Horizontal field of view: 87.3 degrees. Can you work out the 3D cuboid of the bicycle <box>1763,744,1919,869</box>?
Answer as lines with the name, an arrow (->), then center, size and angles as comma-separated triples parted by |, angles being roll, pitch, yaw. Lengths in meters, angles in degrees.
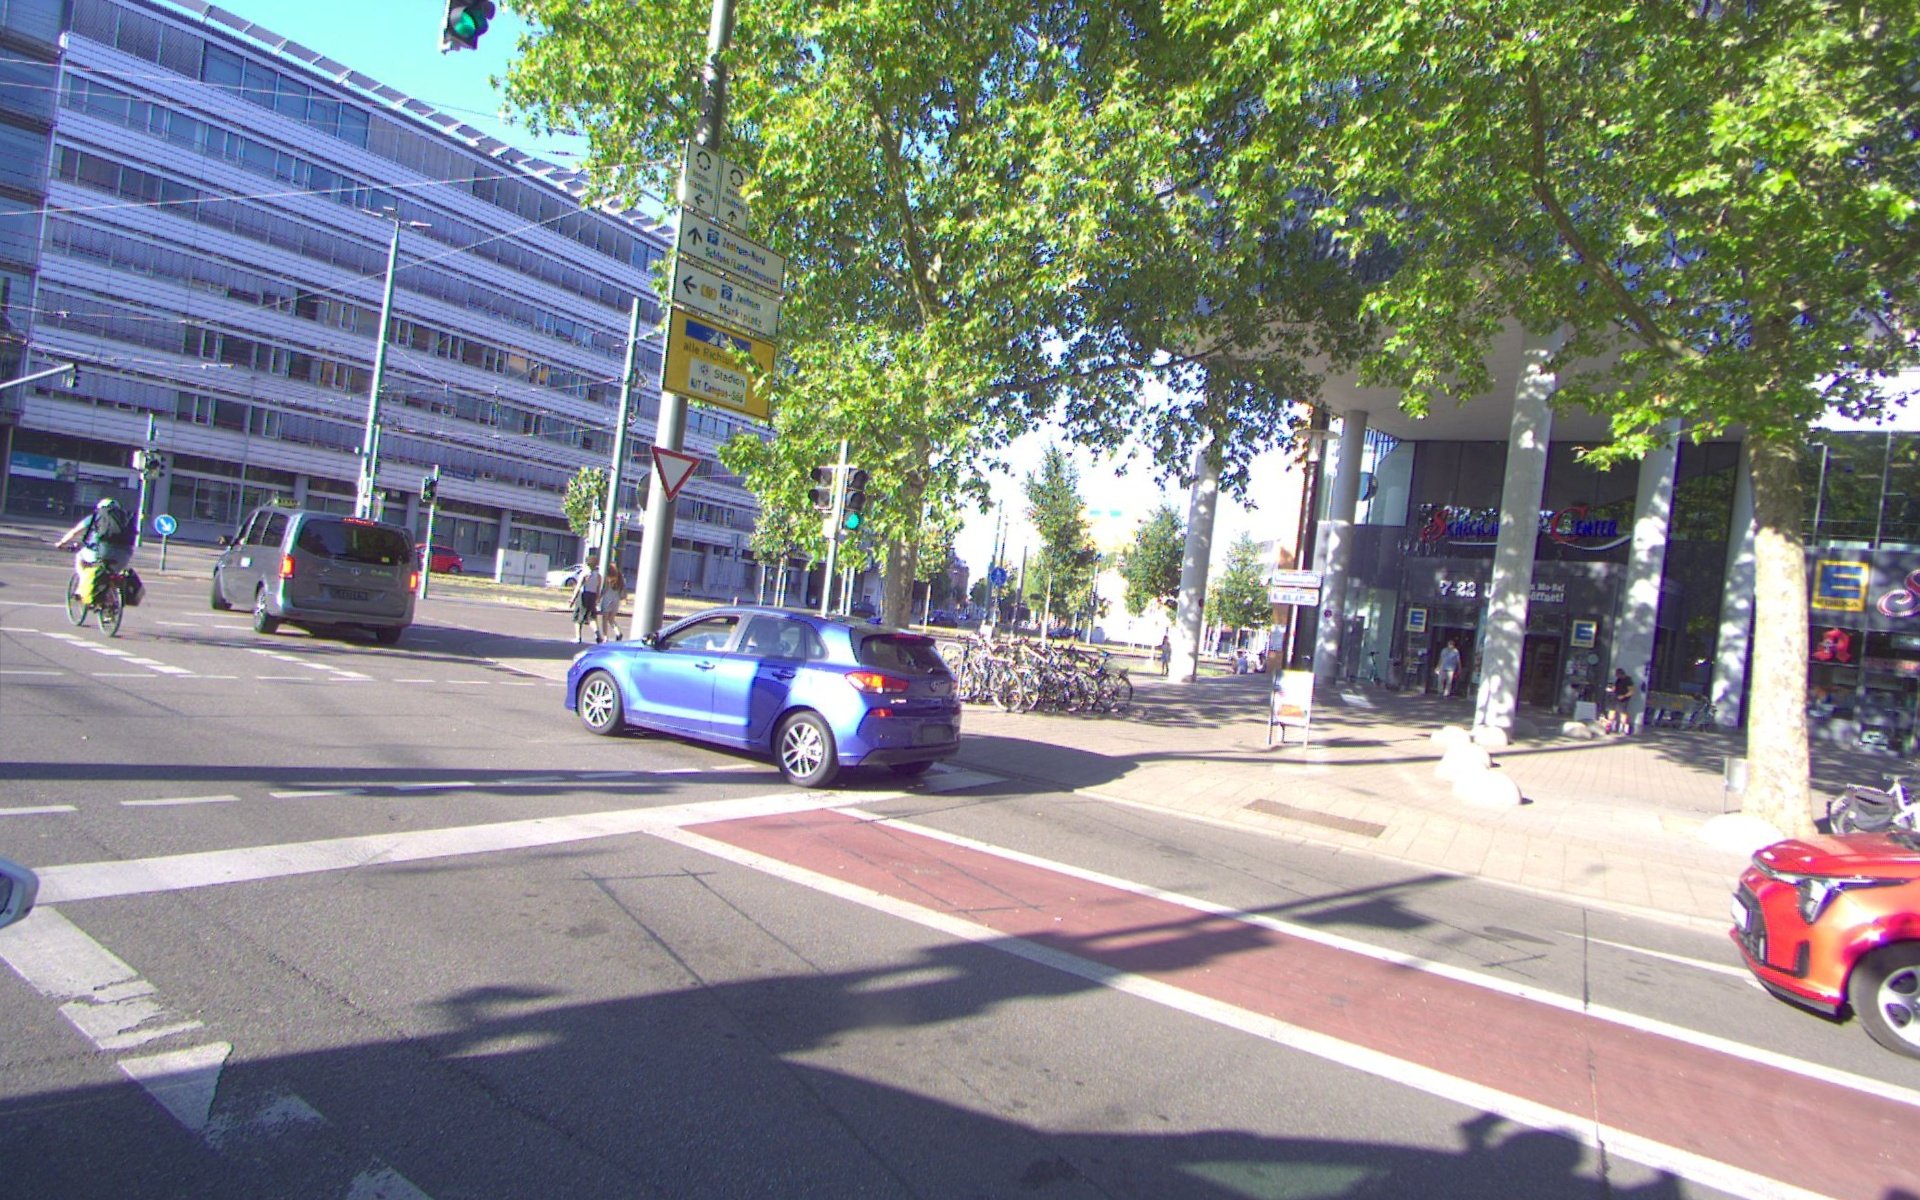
bicycle -> 11.772, 2.570, 11.633 | 3.758, 1.234, 0.792 | 5, -2, 36

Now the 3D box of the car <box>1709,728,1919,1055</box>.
car -> 6.078, 1.672, 4.978 | 3.538, 1.476, 1.493 | 7, -1, 32

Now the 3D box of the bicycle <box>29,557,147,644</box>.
bicycle -> -10.554, -0.010, 12.157 | 1.830, 0.798, 0.491 | 8, 0, 32

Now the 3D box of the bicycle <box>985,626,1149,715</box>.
bicycle -> 1.970, 1.301, 18.823 | 2.896, 1.250, 0.698 | 6, -4, 31

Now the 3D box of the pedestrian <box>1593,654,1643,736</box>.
pedestrian -> 17.514, 2.531, 26.770 | 0.847, 2.037, 1.021 | 6, -1, 38

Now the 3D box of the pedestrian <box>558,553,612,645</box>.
pedestrian -> -7.676, -0.025, 20.564 | 0.674, 1.781, 0.734 | 6, 1, -38

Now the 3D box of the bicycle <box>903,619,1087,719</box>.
bicycle -> 0.532, 1.097, 16.343 | 2.896, 1.243, 0.686 | 6, -1, 31

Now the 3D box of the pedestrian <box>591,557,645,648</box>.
pedestrian -> -7.139, 0.045, 20.997 | 0.680, 1.781, 0.734 | 6, 1, -38

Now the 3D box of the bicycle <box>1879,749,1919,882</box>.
bicycle -> 10.343, 2.204, 9.342 | 2.514, 1.234, 0.756 | 5, -2, 37

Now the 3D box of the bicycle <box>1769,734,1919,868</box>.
bicycle -> 10.882, 2.281, 10.436 | 3.759, 1.234, 0.756 | 5, -2, 38

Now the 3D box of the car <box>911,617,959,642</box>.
car -> -2.094, 2.488, 84.907 | 1.852, 1.614, 4.121 | 6, -2, 35

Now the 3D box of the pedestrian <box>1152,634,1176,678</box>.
pedestrian -> 8.004, 2.193, 39.396 | 0.569, 1.612, 0.595 | 7, 0, 32

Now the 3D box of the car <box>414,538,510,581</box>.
car -> -25.915, -2.082, 52.478 | 1.769, 1.569, 3.990 | 6, -2, 36

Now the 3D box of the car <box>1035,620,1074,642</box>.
car -> 9.387, 3.102, 99.594 | 1.852, 1.614, 4.121 | 6, -2, 35

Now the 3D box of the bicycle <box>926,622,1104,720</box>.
bicycle -> 0.889, 1.172, 16.973 | 2.896, 1.252, 0.705 | 6, -1, 32

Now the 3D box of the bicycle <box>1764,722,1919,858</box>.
bicycle -> 11.321, 2.356, 11.023 | 3.757, 1.235, 0.727 | 10, 1, 38

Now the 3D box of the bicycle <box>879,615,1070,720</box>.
bicycle -> 0.186, 1.032, 15.717 | 2.896, 1.252, 0.705 | 6, -1, 31

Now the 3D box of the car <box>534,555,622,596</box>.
car -> -20.856, -1.309, 55.062 | 1.852, 1.614, 3.991 | 6, -2, 35

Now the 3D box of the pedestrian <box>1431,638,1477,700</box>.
pedestrian -> 16.168, 2.250, 32.949 | 0.800, 1.913, 0.871 | 5, 1, -16

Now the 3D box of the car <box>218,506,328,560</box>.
car -> -34.702, -3.369, 50.895 | 1.967, 2.037, 3.995 | 6, -2, 32

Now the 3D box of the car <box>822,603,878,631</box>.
car -> -8.357, 1.339, 76.834 | 1.852, 1.614, 4.121 | 6, -2, 35

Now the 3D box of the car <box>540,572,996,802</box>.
car -> -1.946, 0.737, 9.784 | 4.142, 1.476, 1.751 | 7, -1, 32

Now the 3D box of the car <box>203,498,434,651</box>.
car -> -10.459, -0.481, 16.228 | 4.819, 1.919, 1.997 | 7, -1, 45

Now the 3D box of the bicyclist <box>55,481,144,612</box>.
bicyclist -> -10.324, -0.639, 12.073 | 0.605, 1.456, 0.488 | 7, -2, 32

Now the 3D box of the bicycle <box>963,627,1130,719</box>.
bicycle -> 1.521, 1.277, 18.115 | 2.896, 1.253, 0.704 | 6, 1, 31
